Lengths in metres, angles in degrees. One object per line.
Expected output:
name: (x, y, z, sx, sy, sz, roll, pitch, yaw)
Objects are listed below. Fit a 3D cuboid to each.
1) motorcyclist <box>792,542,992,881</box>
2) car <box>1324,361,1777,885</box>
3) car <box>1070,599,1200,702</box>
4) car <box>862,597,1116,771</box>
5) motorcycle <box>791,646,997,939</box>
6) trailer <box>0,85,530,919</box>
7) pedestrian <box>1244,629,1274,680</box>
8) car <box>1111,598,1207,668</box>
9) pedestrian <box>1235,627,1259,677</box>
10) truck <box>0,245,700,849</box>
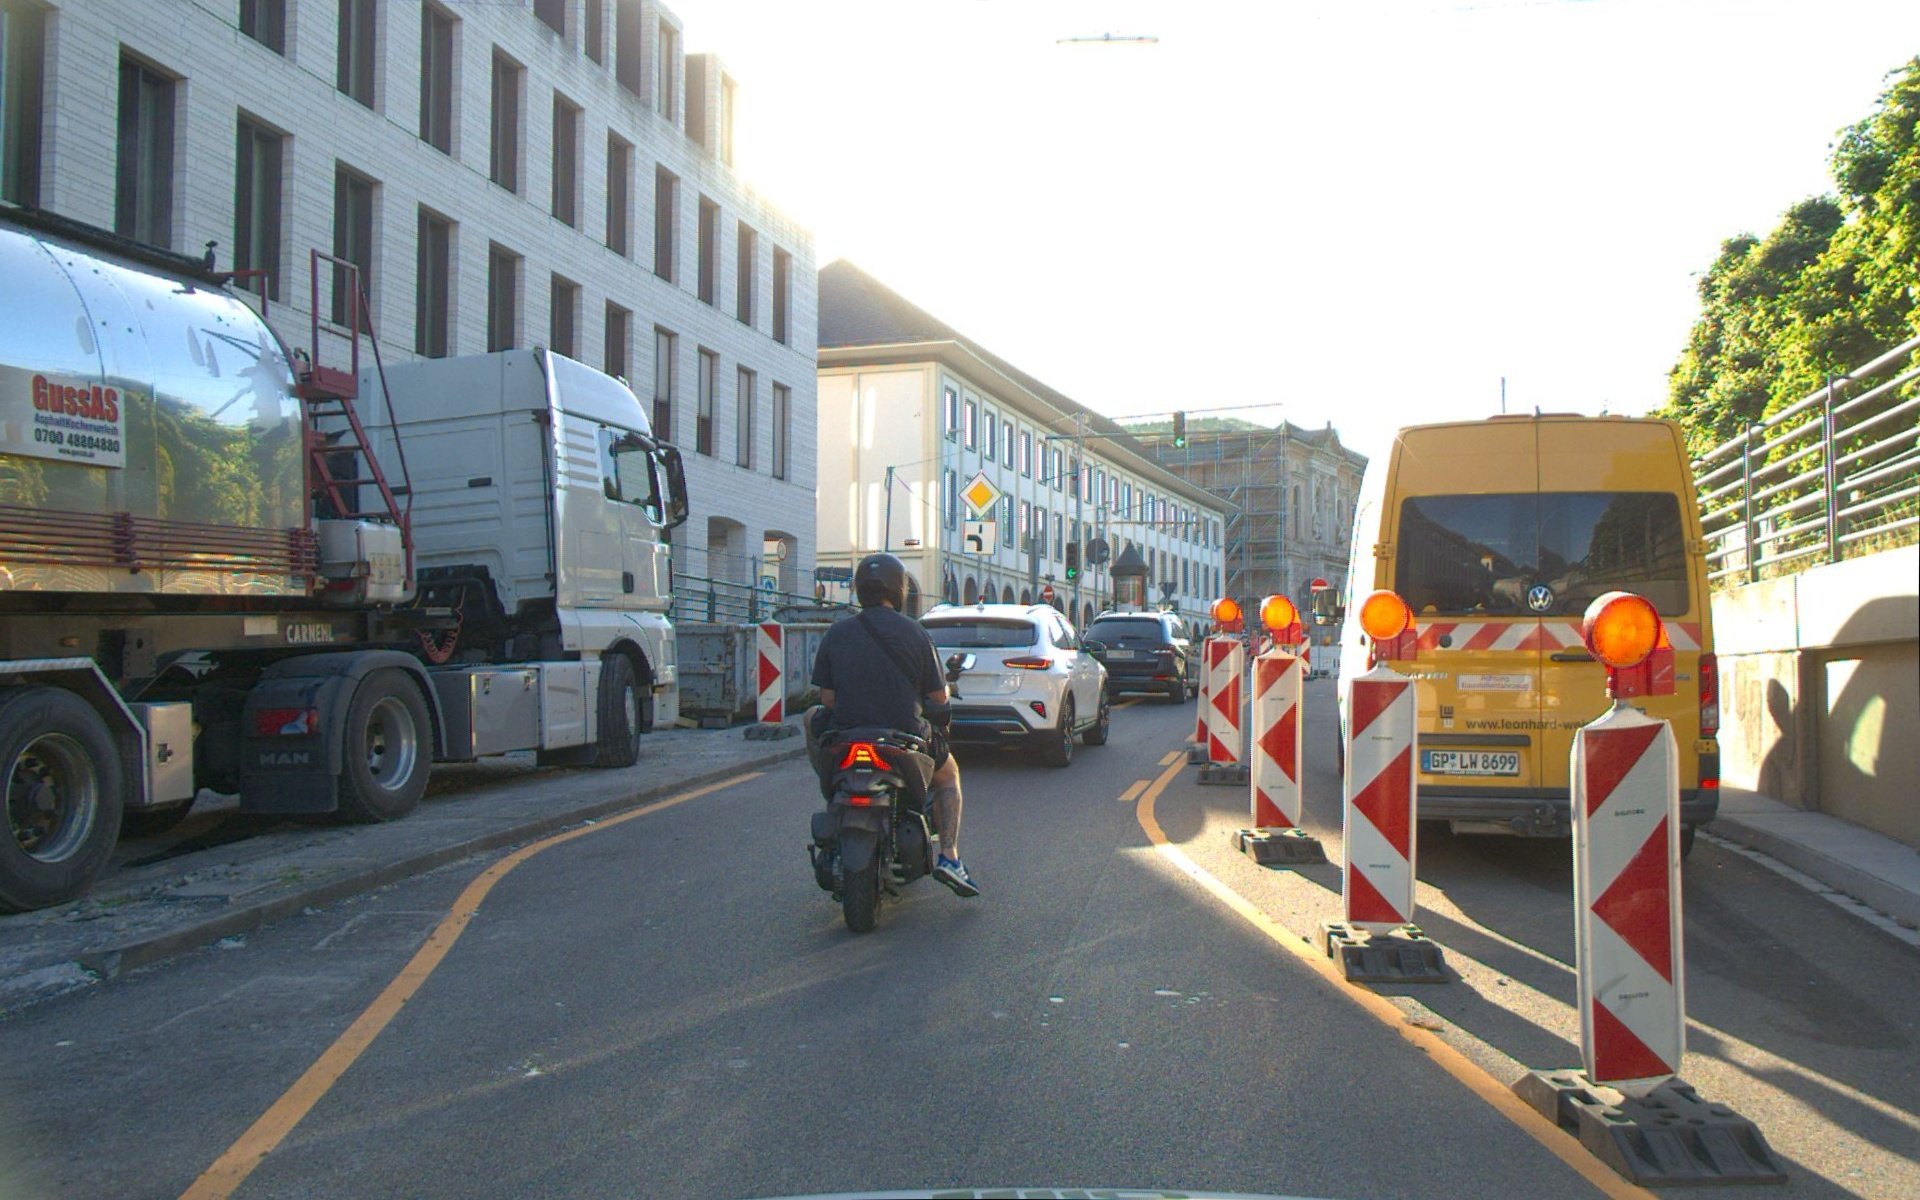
motorcyclist: (-0.348, 0.525, 8.382, 0.935, 1.587, 1.238, 0, 0, -3)
car: (3.807, 0.150, 12.065, 2.067, 2.671, 6.992, 0, -1, 11)
car: (2.989, 0.857, 27.631, 1.736, 1.578, 4.109, -1, -2, 12)
car: (0.431, 0.733, 16.696, 1.819, 1.498, 4.003, 1, 0, 12)
motorcycle: (-0.344, 0.864, 8.445, 0.887, 1.204, 2.577, 0, 0, -3)
trailer: (-5.393, -0.375, 8.320, 2.586, 3.733, 8.756, -4, -1, 10)
pedestrian: (10.403, 1.895, 57.488, 0.944, 1.740, 0.676, 0, 0, 17)
car: (5.186, 0.824, 43.560, 1.768, 1.751, 4.159, 0, 0, -4)
pedestrian: (9.705, 1.746, 55.930, 0.709, 1.653, 0.620, 0, 0, 17)
truck: (-4.410, -0.274, 13.083, 2.525, 3.550, 5.820, -4, -1, 12)
